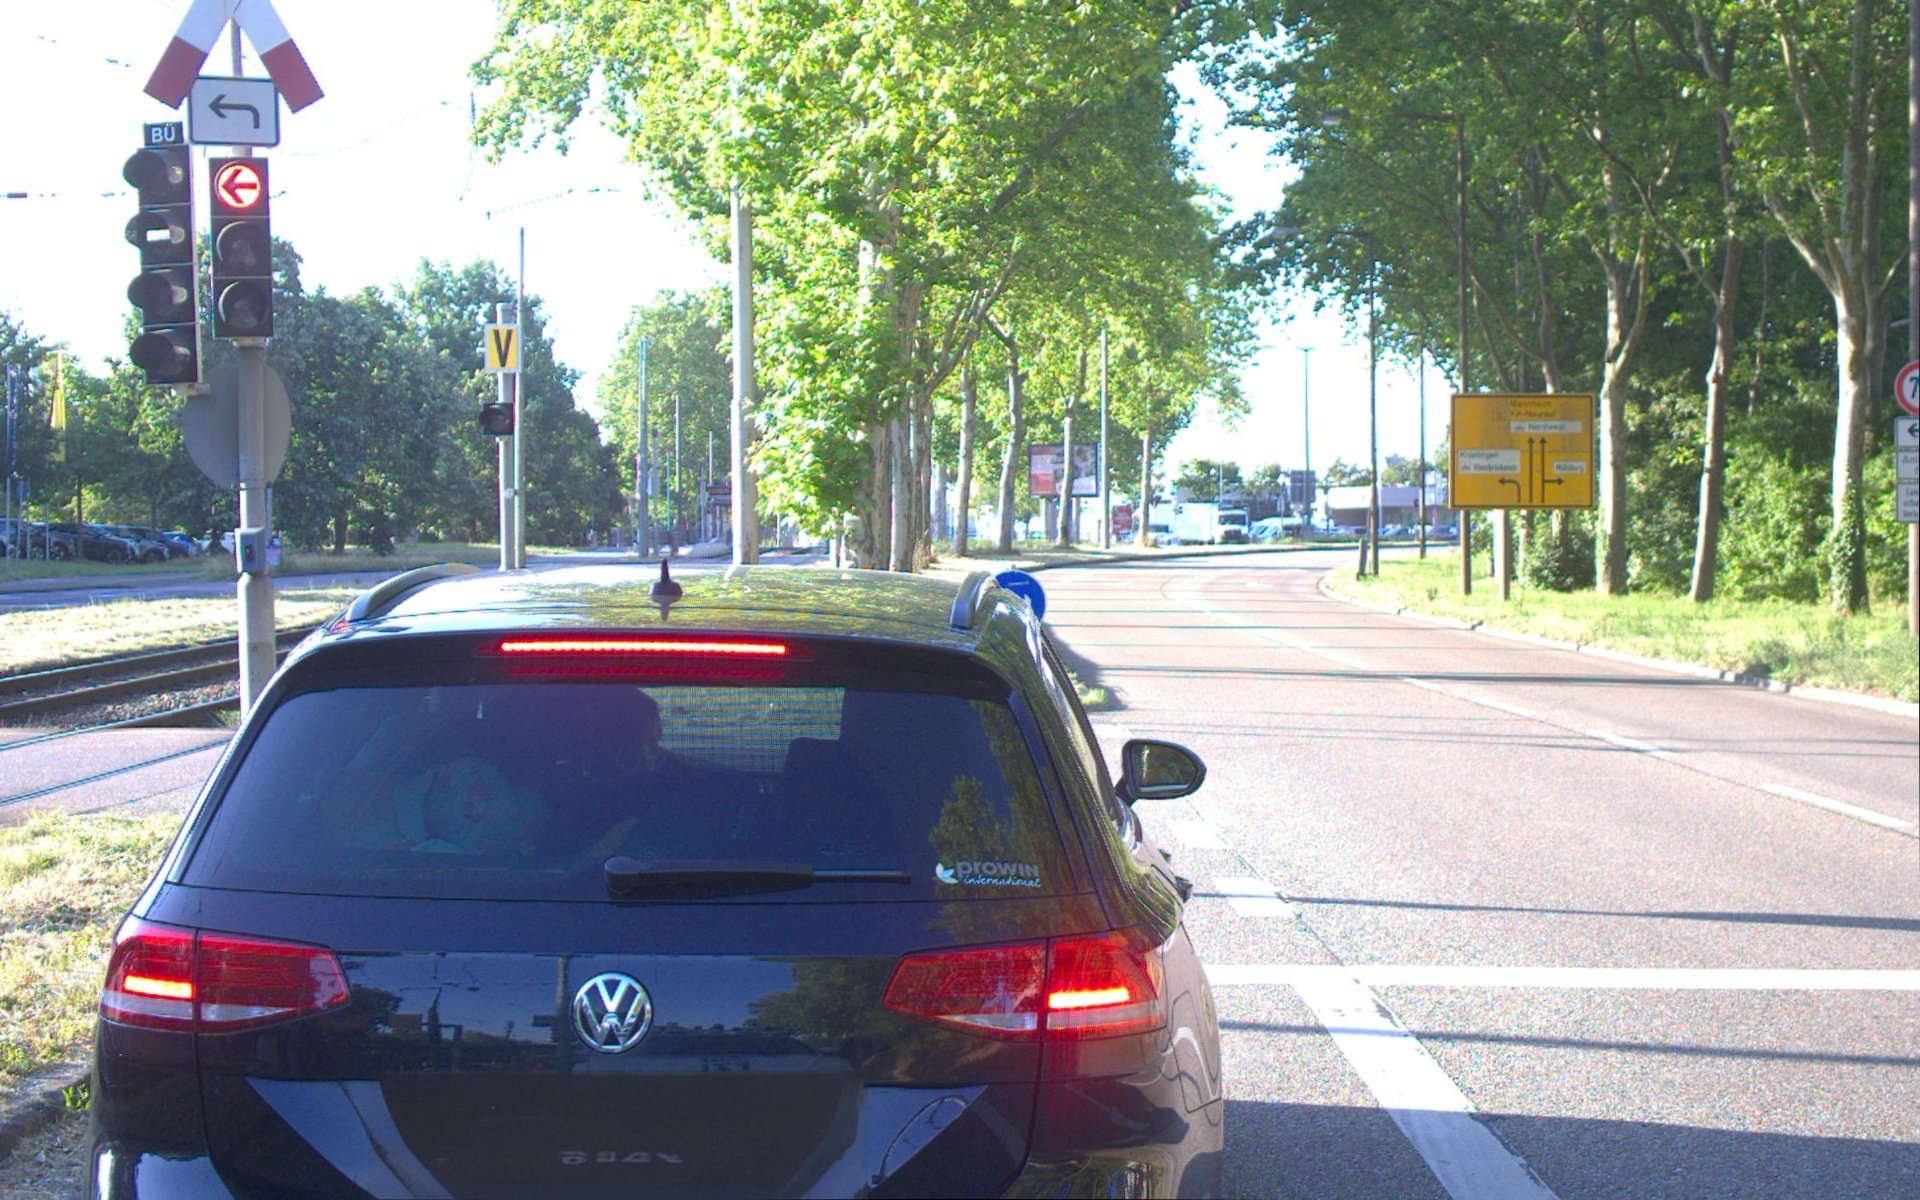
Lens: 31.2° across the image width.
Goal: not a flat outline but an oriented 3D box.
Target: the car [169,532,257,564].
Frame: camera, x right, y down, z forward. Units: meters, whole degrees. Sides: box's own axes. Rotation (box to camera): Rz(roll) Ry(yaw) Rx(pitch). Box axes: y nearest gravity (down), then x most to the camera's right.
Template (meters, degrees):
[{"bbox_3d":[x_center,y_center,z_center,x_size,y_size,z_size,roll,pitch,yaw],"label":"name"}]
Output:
[{"bbox_3d":[-36.504,-2.537,167.982,3.986,1.550,1.744,1,1,-4],"label":"car"}]

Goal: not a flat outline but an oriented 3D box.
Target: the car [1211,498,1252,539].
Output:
[{"bbox_3d":[16.484,-4.975,209.085,2.095,2.453,5.853,1,1,1],"label":"car"}]

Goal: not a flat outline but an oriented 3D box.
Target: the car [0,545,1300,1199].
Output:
[{"bbox_3d":[-0.482,0.643,6.408,1.795,1.459,3.583,1,1,-1],"label":"car"}]

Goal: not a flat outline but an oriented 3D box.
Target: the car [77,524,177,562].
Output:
[{"bbox_3d":[-36.113,-2.466,149.069,3.986,1.615,1.744,1,1,-5],"label":"car"}]

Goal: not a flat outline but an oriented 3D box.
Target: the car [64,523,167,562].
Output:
[{"bbox_3d":[-35.820,-2.447,145.906,3.986,1.615,1.744,1,1,-5],"label":"car"}]

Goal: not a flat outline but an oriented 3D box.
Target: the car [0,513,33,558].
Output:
[{"bbox_3d":[-35.914,-2.355,125.000,3.986,1.615,1.744,1,1,-5],"label":"car"}]

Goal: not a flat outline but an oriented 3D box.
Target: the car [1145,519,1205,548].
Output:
[{"bbox_3d":[11.064,-3.416,176.927,1.864,1.476,4.087,1,1,22],"label":"car"}]
